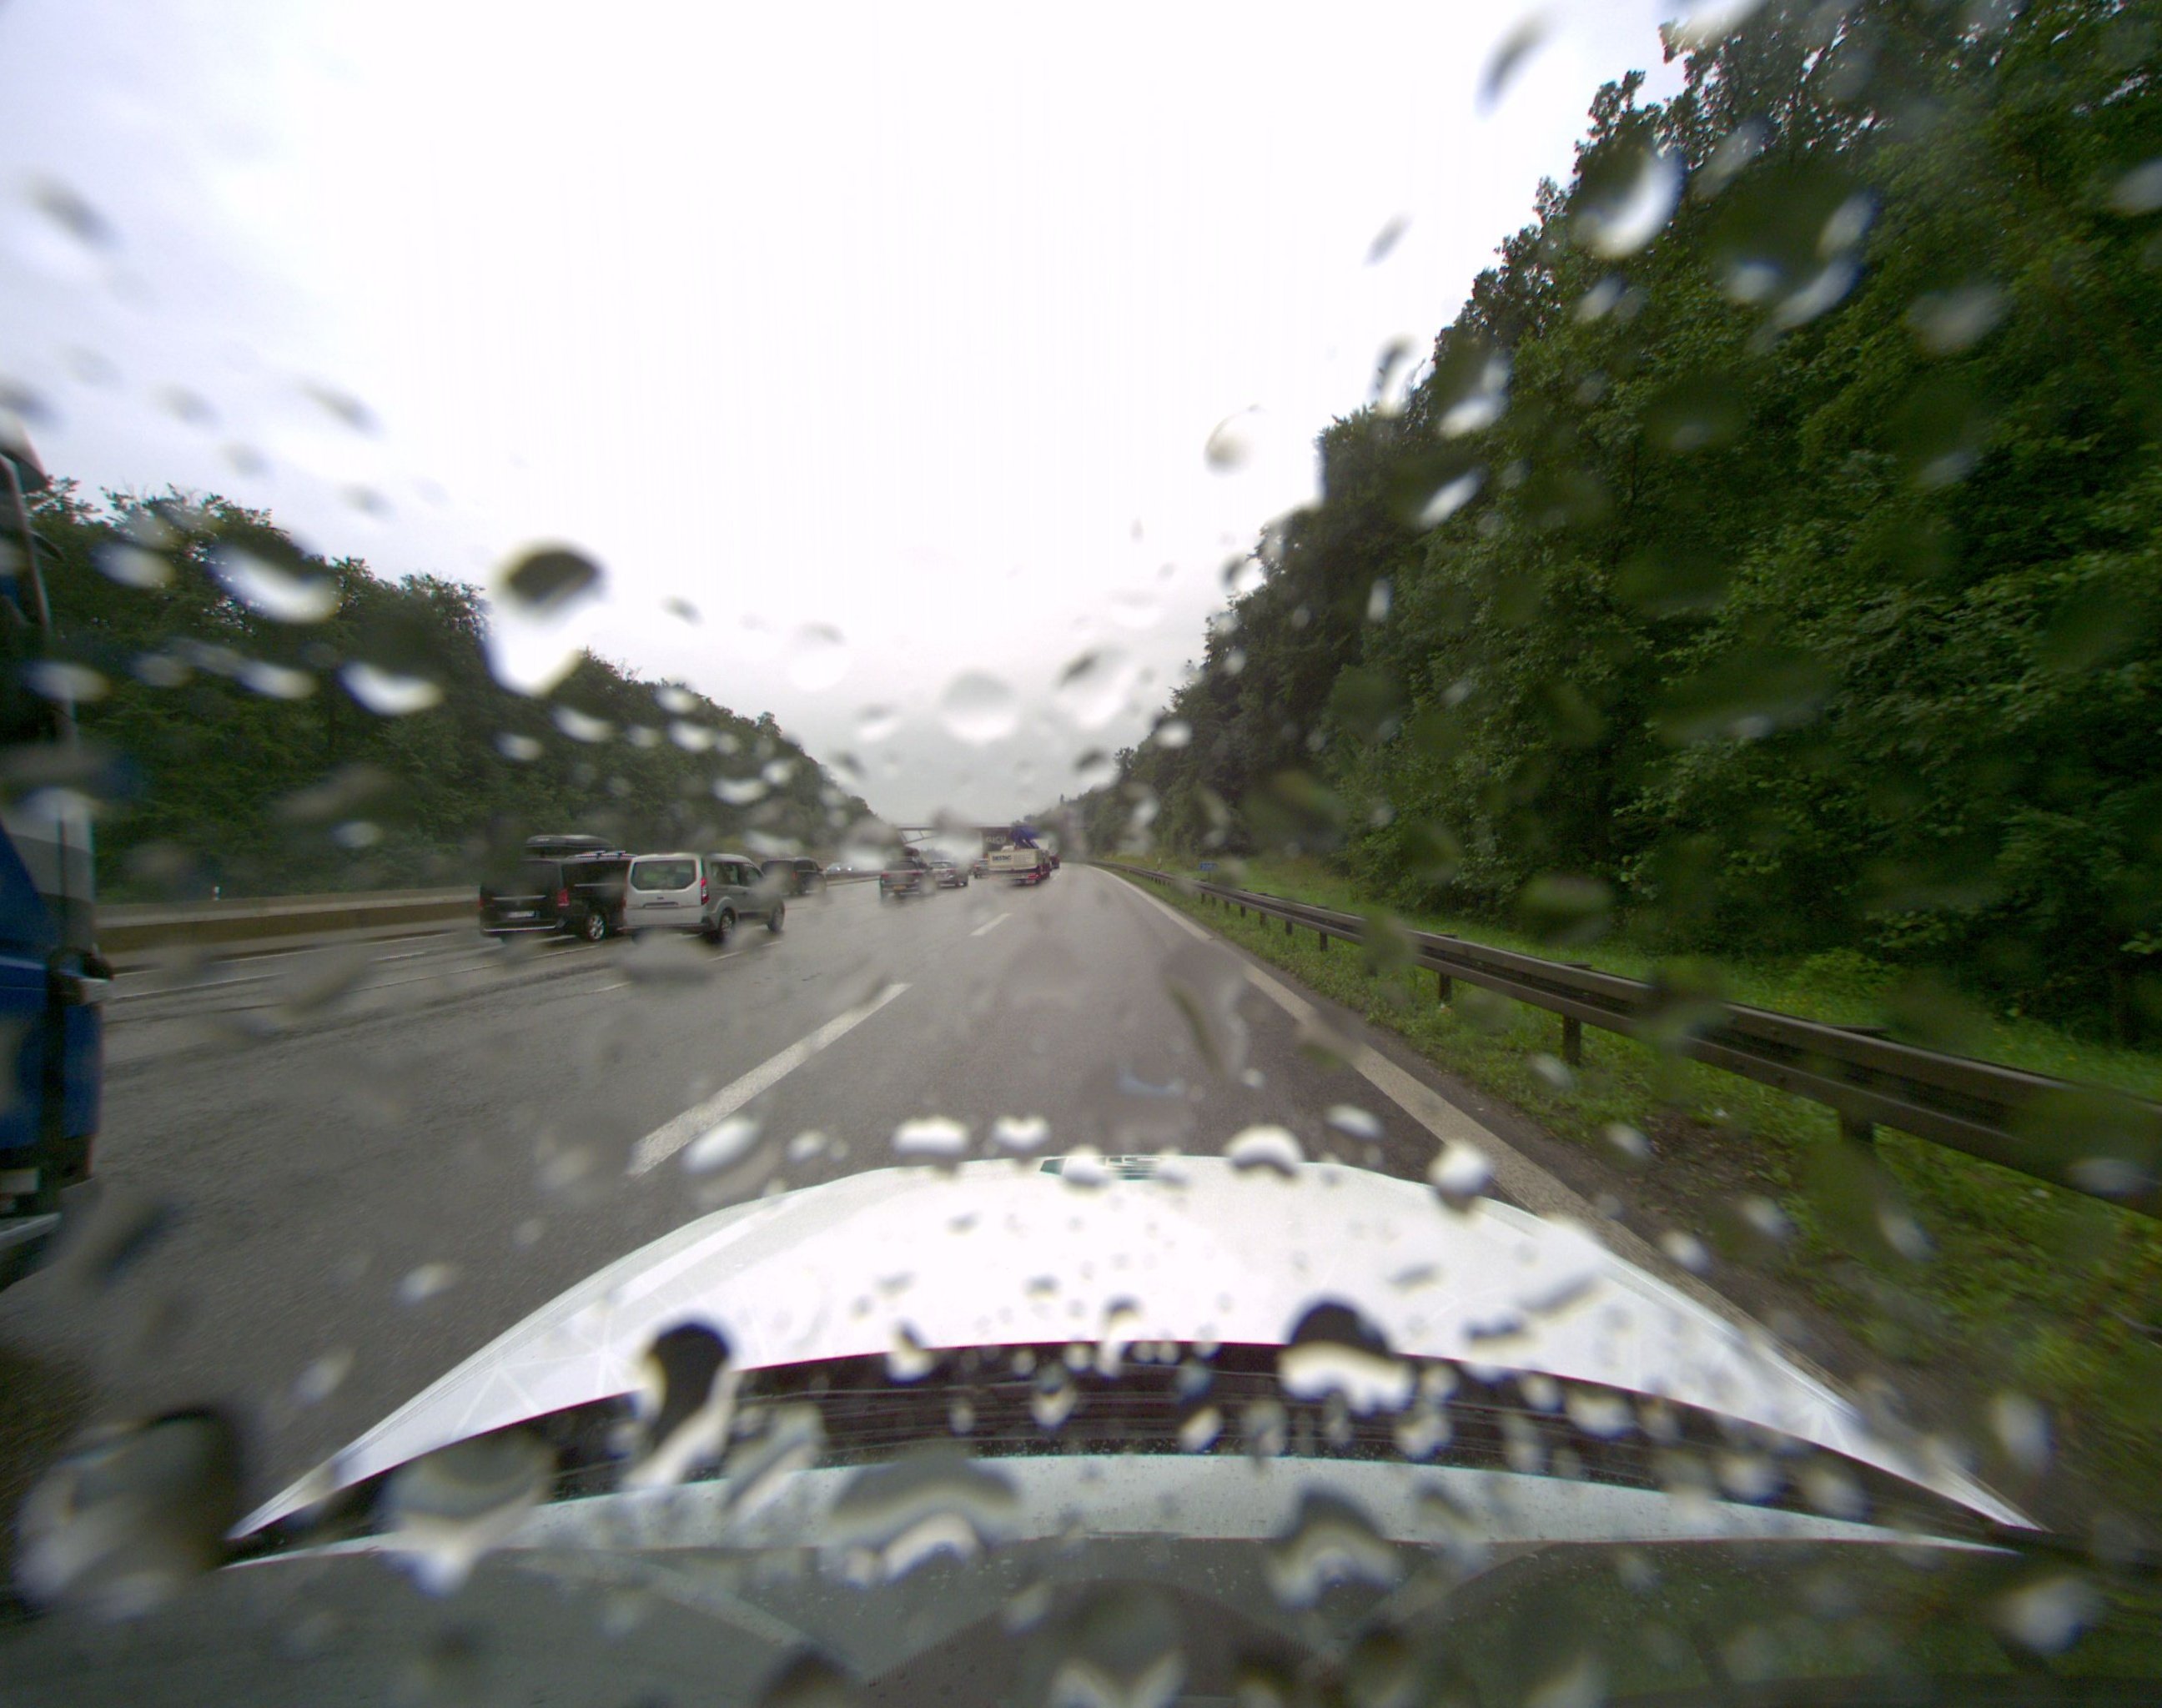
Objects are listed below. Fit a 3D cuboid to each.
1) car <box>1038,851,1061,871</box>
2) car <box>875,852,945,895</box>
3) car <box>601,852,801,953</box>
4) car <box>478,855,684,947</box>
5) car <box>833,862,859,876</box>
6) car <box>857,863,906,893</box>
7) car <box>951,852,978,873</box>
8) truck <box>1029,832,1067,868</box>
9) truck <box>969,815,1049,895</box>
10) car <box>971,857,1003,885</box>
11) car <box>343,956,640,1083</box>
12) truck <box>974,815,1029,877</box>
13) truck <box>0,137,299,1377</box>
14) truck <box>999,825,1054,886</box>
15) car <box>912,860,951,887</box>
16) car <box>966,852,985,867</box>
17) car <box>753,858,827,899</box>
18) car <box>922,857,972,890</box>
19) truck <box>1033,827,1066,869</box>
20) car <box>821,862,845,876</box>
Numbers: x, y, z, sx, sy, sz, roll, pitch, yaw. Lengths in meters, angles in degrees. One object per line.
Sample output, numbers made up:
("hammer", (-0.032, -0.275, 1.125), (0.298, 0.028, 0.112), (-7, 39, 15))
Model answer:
("car", (-3.125, 0.738, 81.303), (1.987, 1.800, 4.000), (2, -2, 1))
("car", (-7.190, 0.846, 34.714), (1.986, 1.636, 4.000), (2, -2, 1))
("car", (-7.724, 0.890, 17.164), (1.838, 1.751, 4.570), (-3, 0, 2))
("car", (-11.109, 0.953, 18.512), (1.986, 1.798, 4.155), (-2, 0, 2))
("car", (-29.424, 1.882, 102.215), (1.987, 1.708, 4.000), (-2, 0, 0))
("car", (-12.259, 1.495, 50.262), (1.778, 1.747, 4.002), (2, -2, 3))
("car", (-11.040, 0.876, 77.202), (1.837, 1.860, 4.000), (2, -2, 1))
("truck", (-3.925, -0.403, 100.020), (3.741, 3.971, 11.060), (2, -2, 1))
("truck", (-3.979, 0.055, 48.320), (3.588, 4.105, 11.558), (-2, 0, 0))
("car", (-7.216, 1.311, 63.051), (1.786, 2.014, 4.001), (2, -2, 2))
("car", (-10.978, 3.015, 15.738), (1.918, 1.522, 4.769), (-2, -1, 6))
("truck", (-7.572, -0.583, 79.328), (3.740, 5.500, 10.176), (2, -2, 2))
("truck", (-4.696, -0.274, 0.765), (2.866, 3.693, 5.058), (-2, 0, 2))
("truck", (-4.077, 0.262, 64.161), (3.496, 4.268, 10.599), (2, -2, 0))
("car", (-9.620, 1.231, 52.761), (1.749, 1.647, 3.999), (-2, 0, 0))
("car", (-13.204, 0.729, 101.743), (1.846, 1.663, 3.997), (2, -2, -1))
("car", (-14.479, 1.162, 40.802), (1.921, 1.832, 4.587), (-2, 0, 1))
("car", (-7.200, 1.028, 44.198), (1.931, 1.662, 4.001), (-2, 0, 1))
("truck", (-4.501, -0.708, 120.226), (4.323, 5.764, 9.726), (2, -2, 0))
("car", (-34.064, 2.076, 111.787), (1.986, 1.784, 4.001), (-2, 0, 1))
